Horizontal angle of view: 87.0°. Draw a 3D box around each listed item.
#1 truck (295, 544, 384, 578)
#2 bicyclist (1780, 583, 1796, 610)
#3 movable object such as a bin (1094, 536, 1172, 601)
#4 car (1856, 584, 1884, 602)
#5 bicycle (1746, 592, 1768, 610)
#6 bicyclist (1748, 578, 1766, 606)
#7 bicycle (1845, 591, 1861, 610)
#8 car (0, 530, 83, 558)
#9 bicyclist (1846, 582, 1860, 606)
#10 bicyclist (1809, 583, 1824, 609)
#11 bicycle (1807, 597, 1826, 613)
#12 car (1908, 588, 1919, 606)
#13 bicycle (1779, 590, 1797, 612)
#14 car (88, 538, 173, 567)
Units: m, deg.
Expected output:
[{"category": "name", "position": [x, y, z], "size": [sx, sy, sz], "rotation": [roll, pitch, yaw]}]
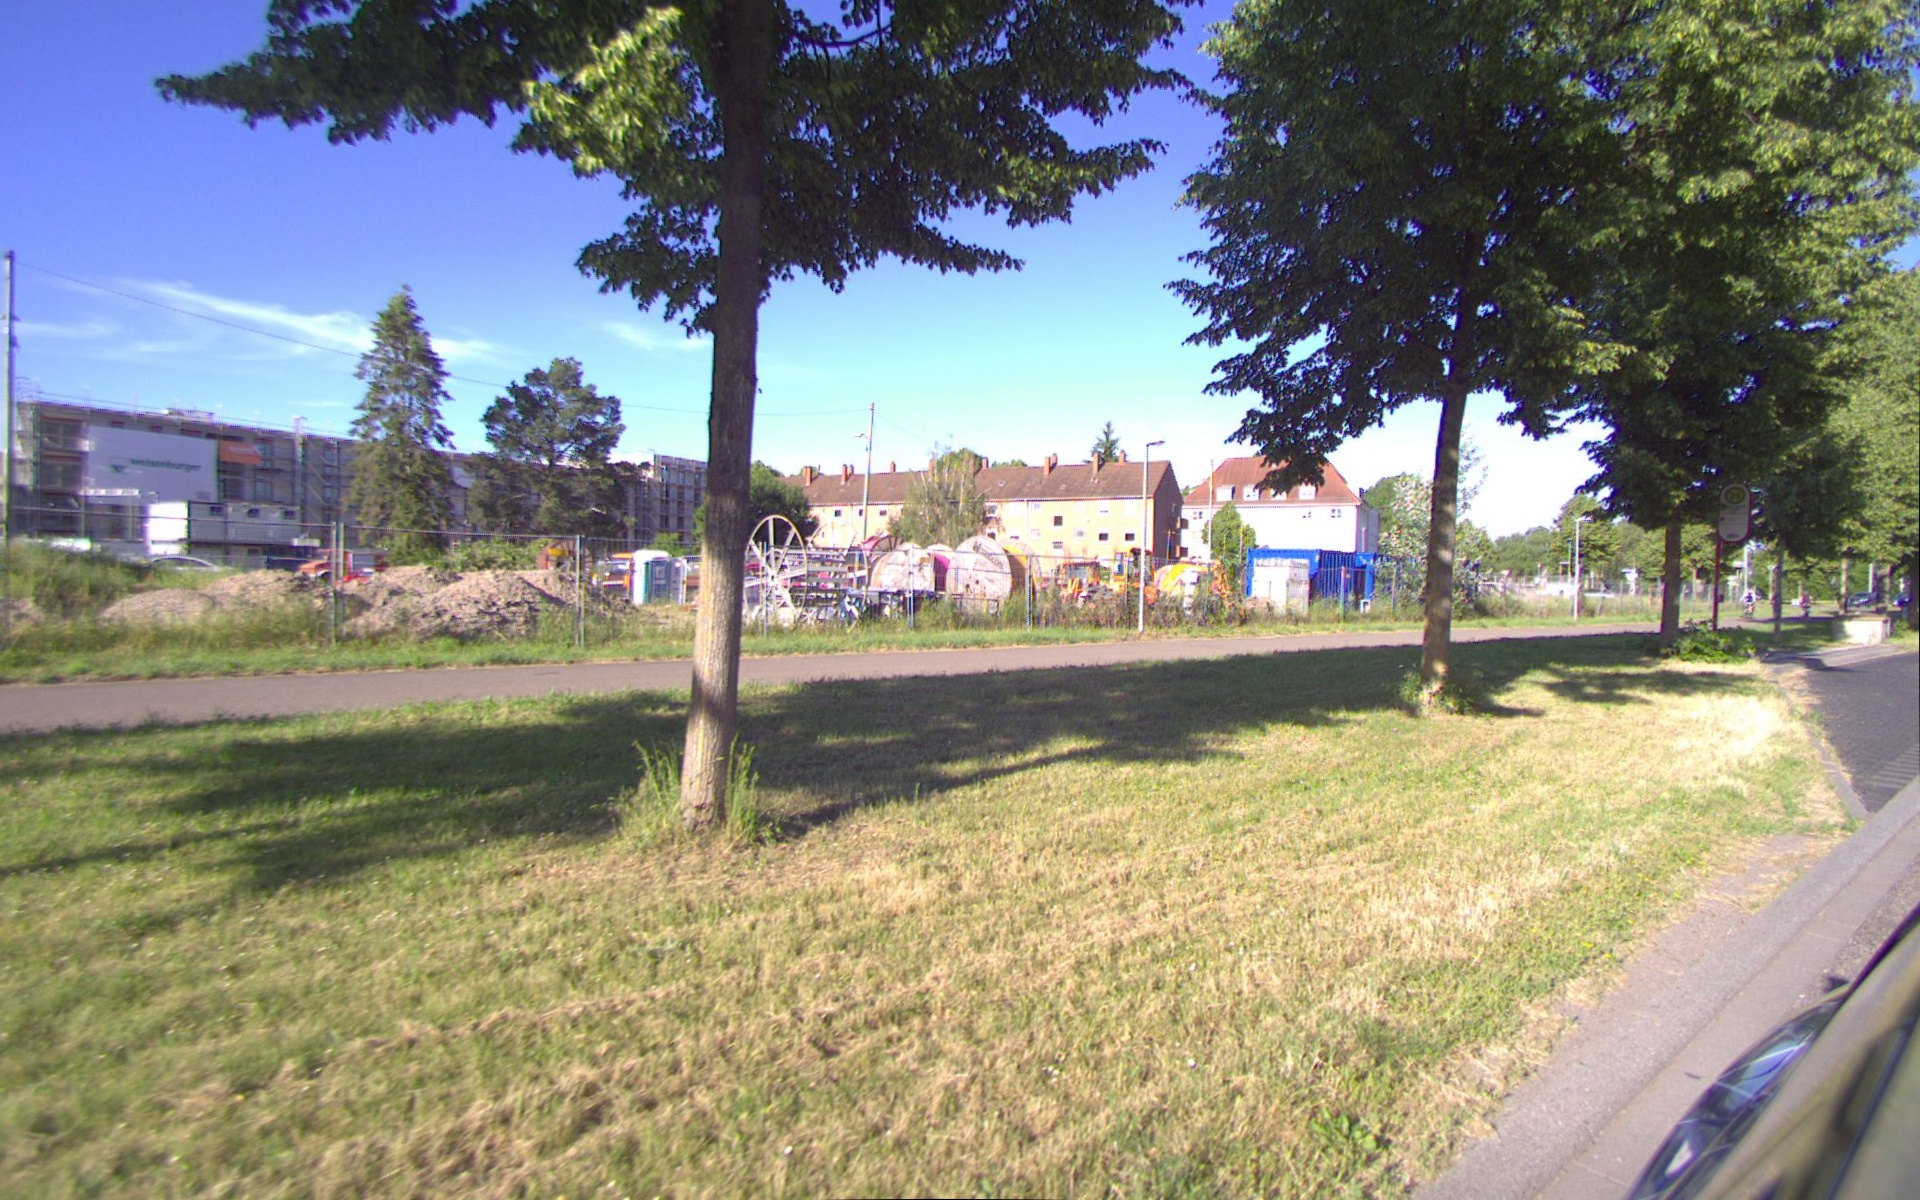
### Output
[{"category": "truck", "position": [-38.745, -2.423, 63.251], "size": [1.990, 2.038, 4.371], "rotation": [2, 2, 39]}, {"category": "bicyclist", "position": [46.144, -0.194, 56.393], "size": [0.819, 1.491, 0.504], "rotation": [-1, 2, -41]}, {"category": "movable object such as a bin", "position": [5.589, -1.032, 32.678], "size": [1.757, 2.038, 1.799], "rotation": [-2, 2, -39]}, {"category": "car", "position": [89.922, -0.698, 100.008], "size": [3.191, 1.660, 1.683], "rotation": [0, 2, -41]}, {"category": "bicycle", "position": [45.481, 0.054, 57.744], "size": [1.788, 1.024, 0.657], "rotation": [0, 2, -40]}, {"category": "bicyclist", "position": [45.485, -0.456, 57.737], "size": [0.780, 1.572, 0.654], "rotation": [-1, 2, -40]}, {"category": "bicycle", "position": [56.235, 0.034, 63.703], "size": [1.614, 1.095, 0.479], "rotation": [-2, 2, -39]}, {"category": "car", "position": [-57.280, -3.465, 62.820], "size": [1.819, 1.638, 3.954], "rotation": [1, 2, 33]}, {"category": "bicyclist", "position": [56.197, -0.396, 63.668], "size": [0.899, 1.504, 0.471], "rotation": [-2, 2, -38]}, {"category": "bicyclist", "position": [54.775, -0.282, 64.726], "size": [0.948, 1.606, 0.592], "rotation": [-2, 2, -39]}, {"category": "bicycle", "position": [54.782, 0.321, 64.746], "size": [1.867, 0.972, 0.592], "rotation": [-2, 2, -39]}, {"category": "car", "position": [88.177, -0.276, 92.576], "size": [3.611, 1.584, 1.700], "rotation": [0, 2, -41]}, {"category": "bicycle", "position": [46.159, 0.045, 56.407], "size": [1.577, 1.166, 0.506], "rotation": [0, 2, -41]}, {"category": "car", "position": [-47.611, -2.711, 58.155], "size": [1.619, 1.638, 3.596], "rotation": [1, 3, 43]}]
